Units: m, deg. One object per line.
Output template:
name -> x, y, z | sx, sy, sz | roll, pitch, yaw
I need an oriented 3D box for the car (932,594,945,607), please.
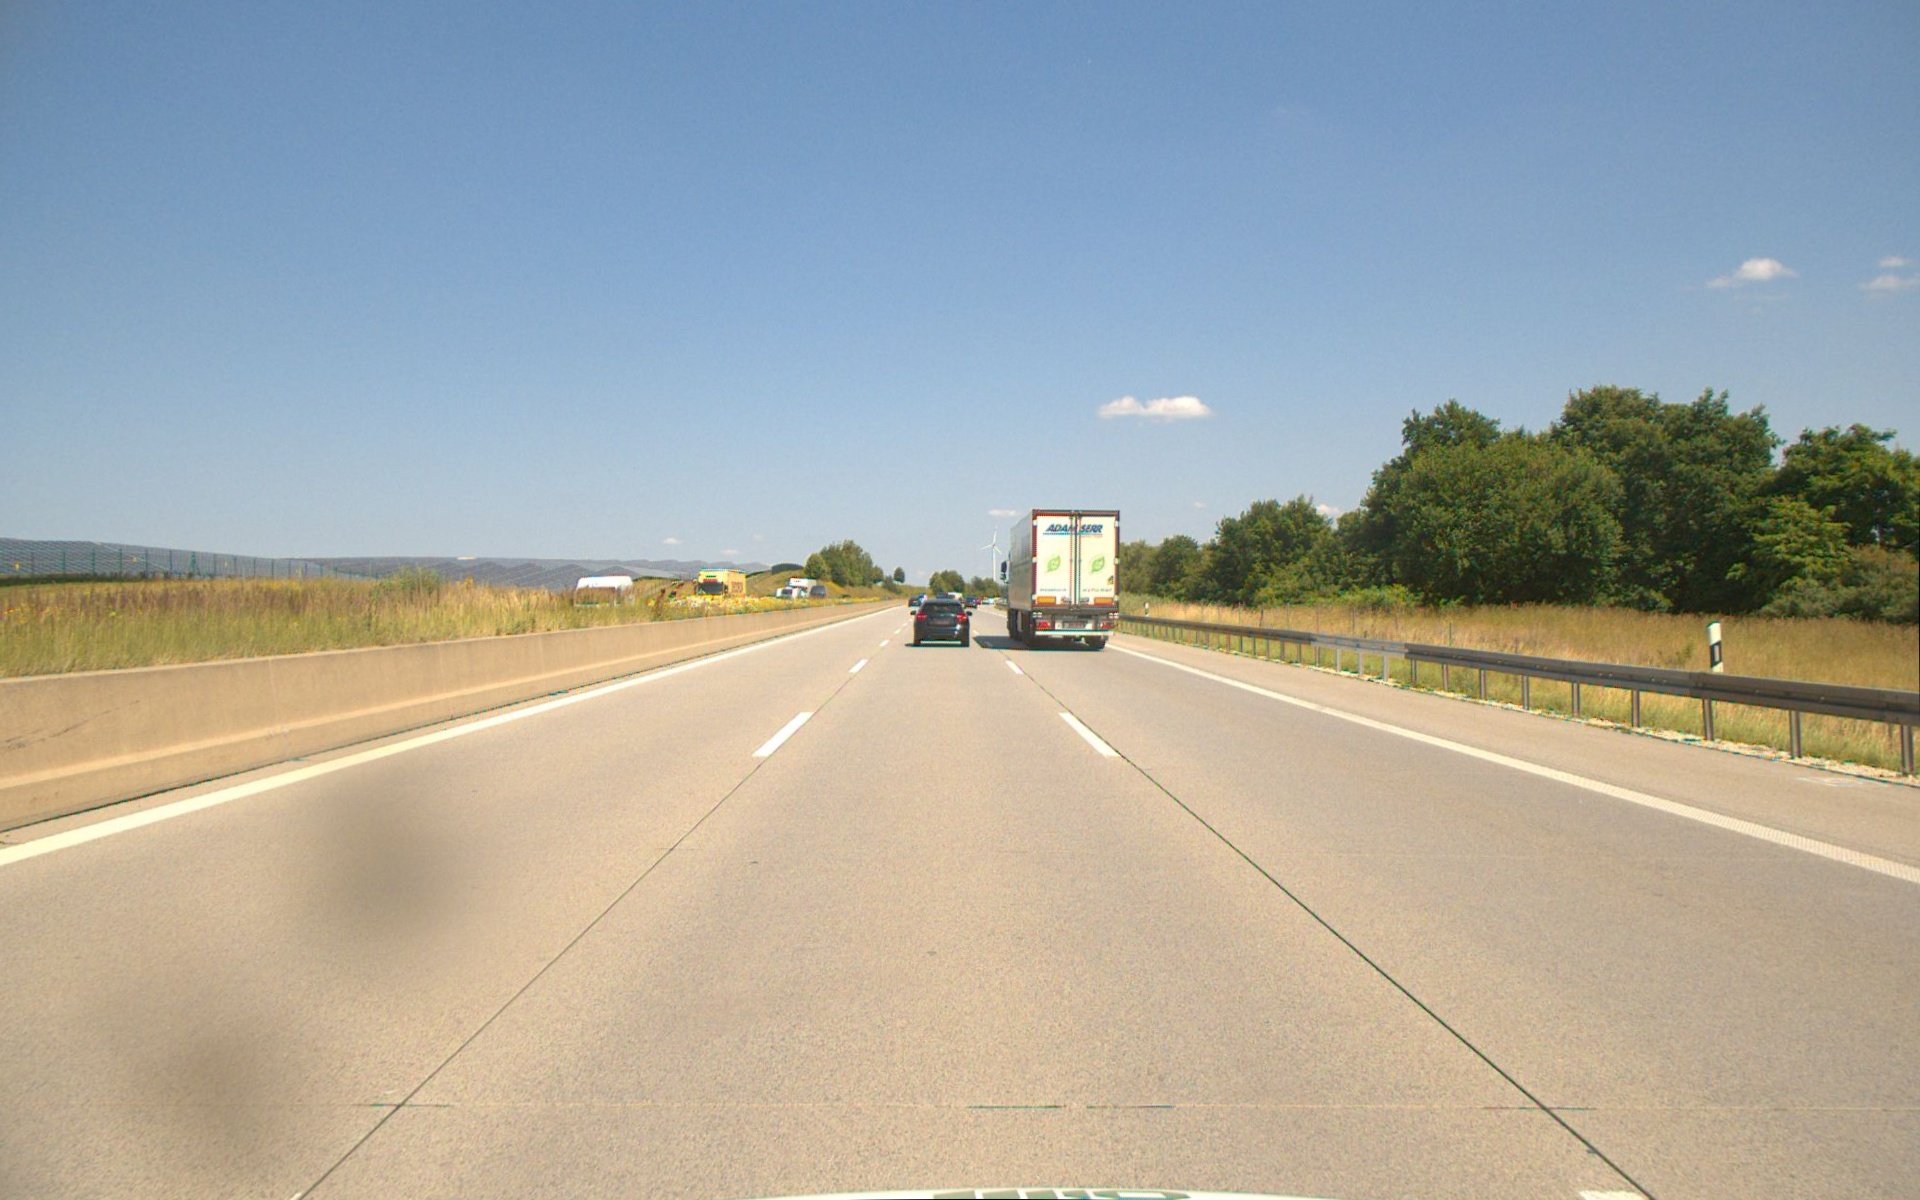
car -> -3.336, 0.075, 256.713 | 1.790, 1.971, 3.807 | 1, 0, -2

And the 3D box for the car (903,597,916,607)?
car -> -7.114, 0.298, 233.020 | 1.622, 1.217, 3.959 | 3, 0, -1

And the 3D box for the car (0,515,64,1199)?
car -> -3.230, 0.623, 1.292 | 1.808, 1.738, 6.034 | 1, 0, -1

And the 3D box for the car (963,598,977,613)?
car -> 1.343, 0.768, 225.235 | 1.790, 1.940, 3.999 | 1, 0, -1

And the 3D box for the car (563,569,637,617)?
car -> -16.323, -0.274, 75.354 | 2.139, 2.049, 6.346 | 1, 0, -2

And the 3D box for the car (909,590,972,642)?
car -> -0.627, 0.476, 51.965 | 1.872, 1.518, 4.191 | 2, 0, -1

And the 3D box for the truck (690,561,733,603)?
truck -> -22.124, -1.586, 147.468 | 2.863, 3.602, 6.346 | 0, -1, -1

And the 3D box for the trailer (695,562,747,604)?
trailer -> -22.166, -1.525, 154.067 | 2.872, 3.613, 14.017 | 1, 0, -1

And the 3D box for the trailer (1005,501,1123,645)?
trailer -> 3.186, -0.780, 54.149 | 2.795, 4.113, 12.710 | 1, 0, -1

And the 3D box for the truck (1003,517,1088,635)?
truck -> 3.132, -0.851, 61.882 | 2.755, 4.159, 5.797 | 1, 0, -1
